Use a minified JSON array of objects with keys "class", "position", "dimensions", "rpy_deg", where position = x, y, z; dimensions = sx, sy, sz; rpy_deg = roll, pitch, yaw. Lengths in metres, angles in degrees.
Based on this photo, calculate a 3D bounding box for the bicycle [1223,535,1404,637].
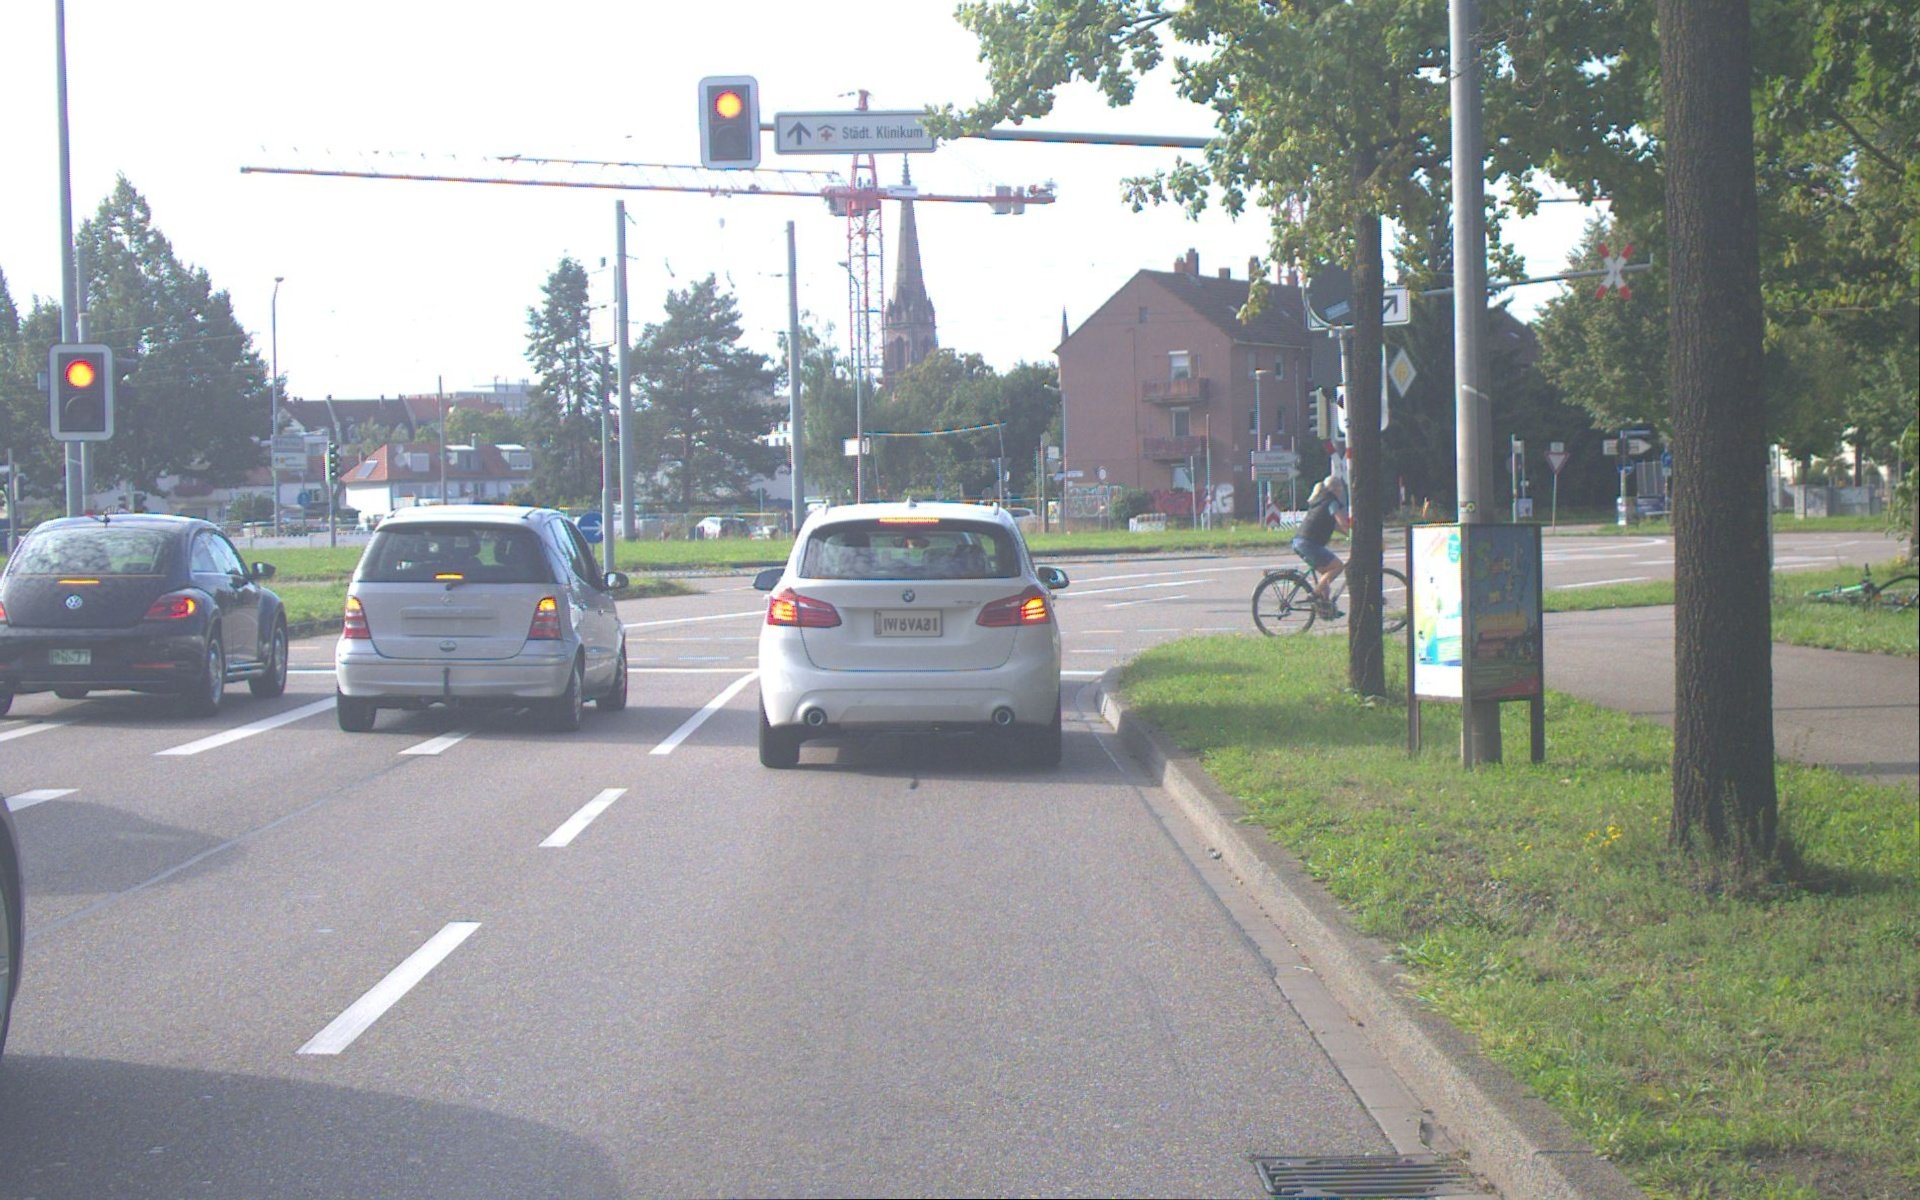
[{"class":"bicycle","position":[3.738,-0.155,36.417],"dimensions":[1.770,1.046,0.711],"rpy_deg":[-1,1,-12]}]

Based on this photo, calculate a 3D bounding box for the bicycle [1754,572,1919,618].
[{"class":"bicycle","position":[9.255,-0.060,34.830],"dimensions":[1.407,0.384,2.577],"rpy_deg":[-2,2,-12]}]

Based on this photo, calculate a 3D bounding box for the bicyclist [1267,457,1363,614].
[{"class":"bicyclist","position":[3.761,-0.686,36.420],"dimensions":[0.829,1.642,0.686],"rpy_deg":[-1,1,-13]}]

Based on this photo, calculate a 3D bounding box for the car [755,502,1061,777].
[{"class":"car","position":[-0.324,0.167,21.487],"dimensions":[1.729,1.553,4.058],"rpy_deg":[0,2,-1]}]

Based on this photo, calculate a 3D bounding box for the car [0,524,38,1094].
[{"class":"car","position":[-3.401,0.578,6.972],"dimensions":[1.890,1.478,4.613],"rpy_deg":[0,1,-1]}]

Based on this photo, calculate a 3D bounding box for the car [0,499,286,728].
[{"class":"car","position":[-6.320,0.038,25.928],"dimensions":[1.721,1.559,3.878],"rpy_deg":[1,2,0]}]

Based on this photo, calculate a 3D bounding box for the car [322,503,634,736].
[{"class":"car","position":[-3.425,0.076,25.071],"dimensions":[1.729,1.553,4.058],"rpy_deg":[0,2,0]}]

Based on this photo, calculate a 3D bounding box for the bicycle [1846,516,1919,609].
[{"class":"bicycle","position":[12.186,-0.487,43.624],"dimensions":[1.724,1.159,0.656],"rpy_deg":[-1,1,-16]}]
